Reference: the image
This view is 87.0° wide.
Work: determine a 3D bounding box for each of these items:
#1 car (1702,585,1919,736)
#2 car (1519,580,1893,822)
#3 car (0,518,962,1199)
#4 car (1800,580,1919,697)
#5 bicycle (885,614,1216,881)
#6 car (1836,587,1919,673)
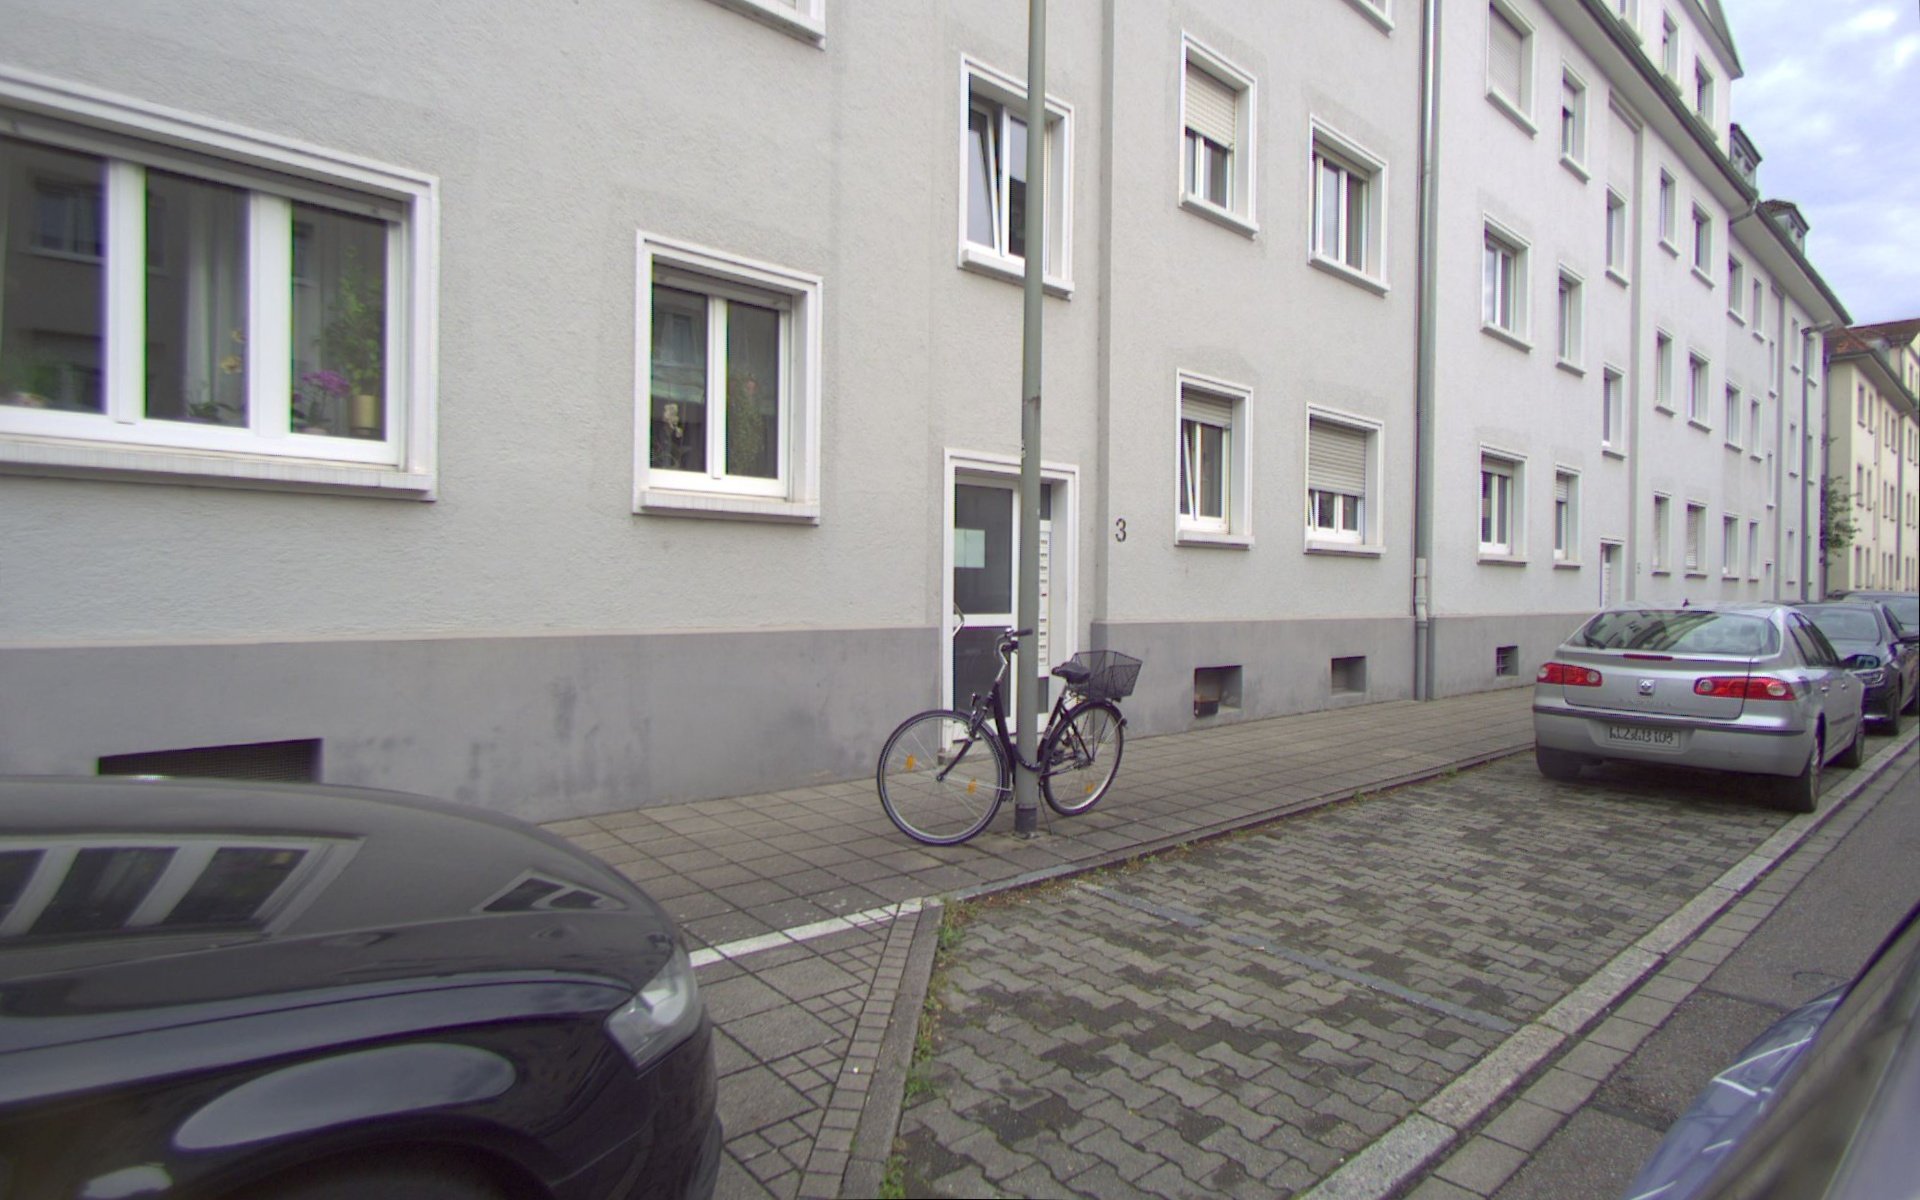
[{"bbox_3d":[10.565,0.601,12.264,4.250,1.481,1.784,0,1,-43],"label":"car"},{"bbox_3d":[6.358,0.620,8.411,4.356,1.481,1.734,0,1,-43],"label":"car"},{"bbox_3d":[-2.330,0.630,0.937,4.646,1.481,1.863,0,2,-43],"label":"car"},{"bbox_3d":[14.628,0.537,15.785,4.090,1.619,1.850,0,1,-43],"label":"car"},{"bbox_3d":[0.562,0.711,5.697,1.862,1.215,0.750,0,2,-42],"label":"bicycle"},{"bbox_3d":[18.168,0.539,19.293,3.691,1.505,1.735,0,1,-42],"label":"car"}]
